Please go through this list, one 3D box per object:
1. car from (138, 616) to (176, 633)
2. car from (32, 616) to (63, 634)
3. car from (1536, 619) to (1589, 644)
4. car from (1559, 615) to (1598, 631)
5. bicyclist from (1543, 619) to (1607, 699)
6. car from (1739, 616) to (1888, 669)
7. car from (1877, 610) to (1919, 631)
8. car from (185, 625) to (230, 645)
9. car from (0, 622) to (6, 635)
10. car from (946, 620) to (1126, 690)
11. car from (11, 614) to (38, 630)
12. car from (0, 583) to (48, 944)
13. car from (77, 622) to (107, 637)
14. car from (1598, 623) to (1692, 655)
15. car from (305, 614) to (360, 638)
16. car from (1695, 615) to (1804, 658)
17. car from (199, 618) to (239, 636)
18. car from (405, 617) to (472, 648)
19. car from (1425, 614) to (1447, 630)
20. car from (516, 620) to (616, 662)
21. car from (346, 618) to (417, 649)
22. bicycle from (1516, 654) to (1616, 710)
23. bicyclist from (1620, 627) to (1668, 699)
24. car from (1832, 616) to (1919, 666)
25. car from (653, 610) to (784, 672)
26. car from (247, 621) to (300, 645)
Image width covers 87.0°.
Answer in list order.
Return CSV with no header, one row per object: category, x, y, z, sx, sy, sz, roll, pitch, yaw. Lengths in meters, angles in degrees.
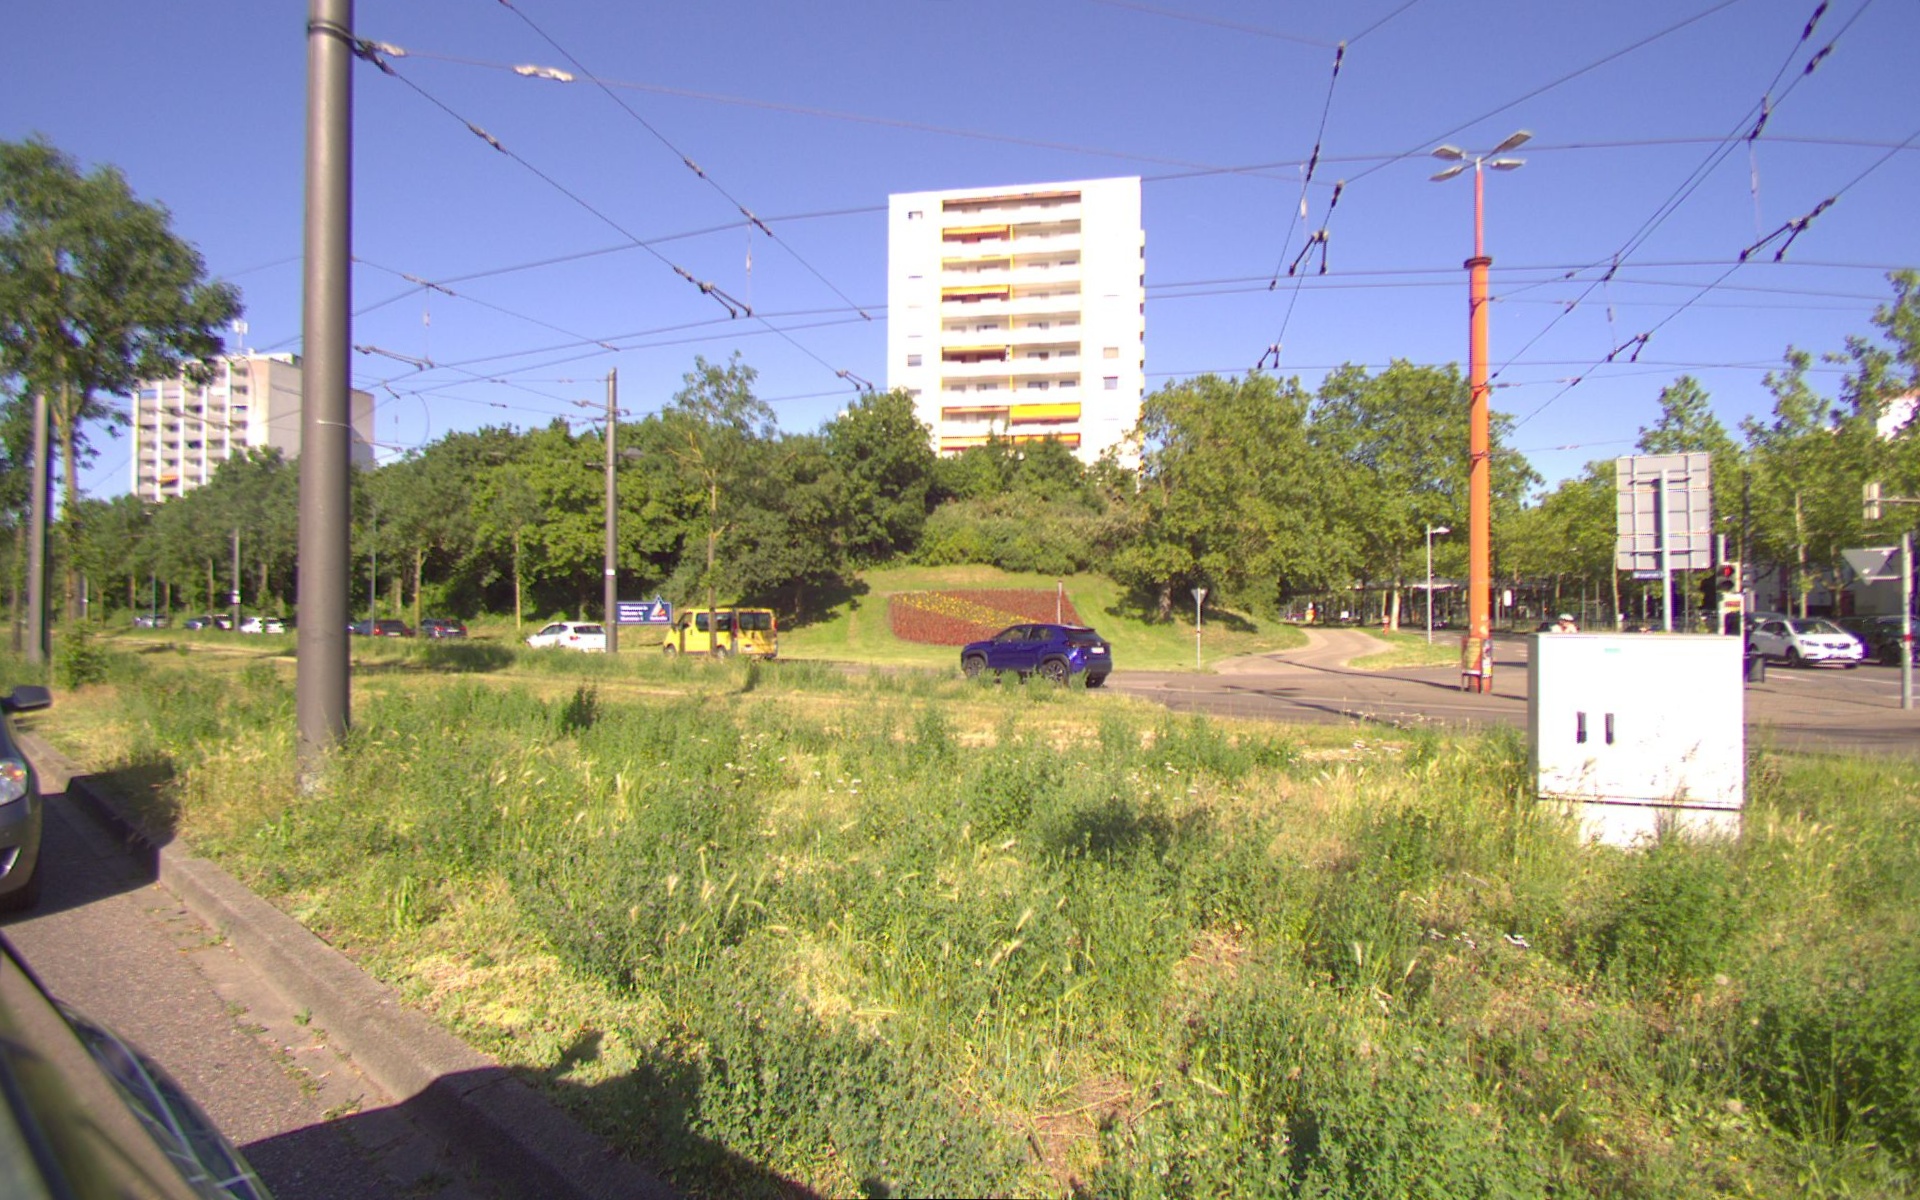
car,-71.280,2.167,89.857,3.998,1.497,1.972,-1,-2,41
car,-91.708,2.487,101.701,3.998,1.779,1.858,-1,-2,41
car,34.826,1.791,58.574,1.752,1.360,4.334,-1,-1,19
car,79.739,3.003,130.486,3.969,2.029,1.987,-1,-1,20
bicyclist,12.223,1.156,20.129,0.719,1.557,0.770,0,-2,-20
car,28.052,1.365,33.450,1.808,1.648,4.239,0,-1,10
car,64.893,1.406,68.404,1.770,1.420,4.010,1,-1,-36
car,-53.069,2.429,71.345,4.229,1.371,1.801,-1,-2,43
car,-124.026,3.636,129.344,3.983,1.674,1.892,-1,-2,29
car,1.837,1.309,25.207,4.105,1.586,1.973,-1,-2,41
car,-109.480,2.588,118.415,3.998,1.779,1.858,-1,-2,41
car,-6.275,0.762,5.328,3.879,1.634,1.737,-1,-2,41
car,-87.946,2.990,102.557,3.998,1.475,1.779,-1,-2,41
car,30.742,1.716,45.551,1.745,1.360,4.351,0,-1,8
car,-38.612,1.615,62.287,3.999,1.429,1.843,-1,-2,42
car,33.423,1.496,43.006,1.831,1.721,4.293,0,-1,10
car,-58.277,2.135,79.552,4.000,1.409,1.822,-1,-2,43
car,-26.925,1.664,52.175,4.241,1.519,1.768,-1,-2,44
car,50.407,2.323,107.220,1.840,1.721,4.273,-1,-2,23
car,-13.963,1.424,35.751,4.020,1.418,1.671,-2,-2,42
car,-27.962,1.600,48.829,4.310,1.427,1.775,-1,-2,43
bicycle,12.148,1.623,20.340,0.673,0.968,1.650,0,0,-20
bicyclist,13.373,1.218,19.793,0.435,1.391,0.631,0,-2,-20
car,31.026,1.298,33.249,1.840,1.557,4.242,-1,-1,15
car,-8.414,1.414,35.018,4.905,1.981,1.972,-2,-3,42
car,-42.047,2.008,61.937,4.000,1.429,1.842,-1,-2,43
